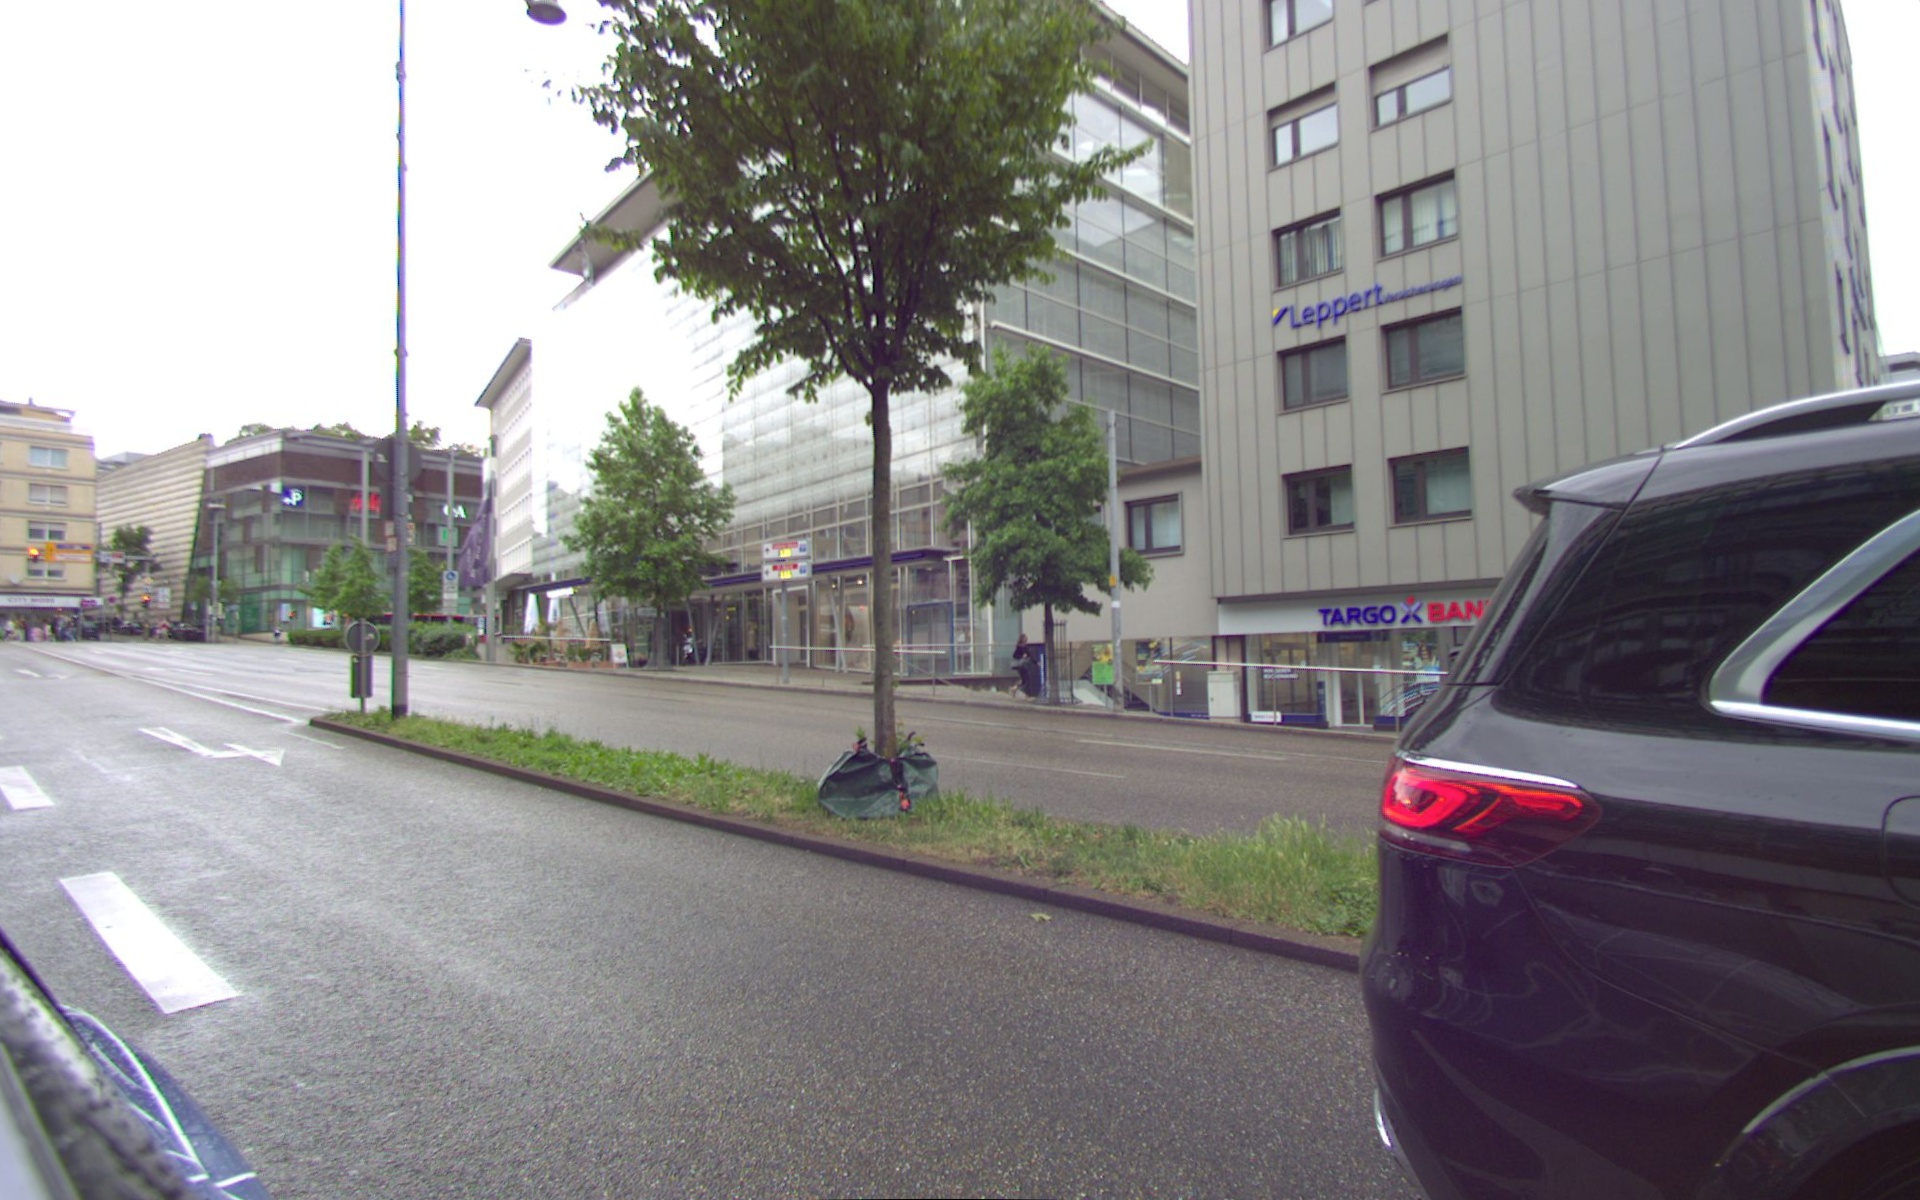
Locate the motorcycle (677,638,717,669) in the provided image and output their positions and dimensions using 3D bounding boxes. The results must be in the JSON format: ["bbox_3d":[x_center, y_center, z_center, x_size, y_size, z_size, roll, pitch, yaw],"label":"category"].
[{"bbox_3d":[-11.963,2.429,46.076,0.620,1.336,1.685,-1,-3,41],"label":"motorcycle"}]

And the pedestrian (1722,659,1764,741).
[{"bbox_3d":[16.632,2.106,21.501,0.634,1.649,0.781,0,0,34],"label":"pedestrian"}]

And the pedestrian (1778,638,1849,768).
[{"bbox_3d":[11.662,1.379,13.842,0.725,1.694,0.584,0,0,41],"label":"pedestrian"}]

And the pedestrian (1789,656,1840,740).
[{"bbox_3d":[18.228,2.072,21.606,0.724,1.710,0.781,0,-3,34],"label":"pedestrian"}]

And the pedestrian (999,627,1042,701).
[{"bbox_3d":[1.400,1.470,23.502,0.626,1.649,0.791,0,0,-41],"label":"pedestrian"}]

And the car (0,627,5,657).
[{"bbox_3d":[-68.127,2.820,68.621,1.993,2.029,4.538,0,-2,32],"label":"car"}]

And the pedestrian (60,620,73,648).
[{"bbox_3d":[-58.909,2.246,66.728,0.618,1.788,0.689,0,0,-45],"label":"pedestrian"}]

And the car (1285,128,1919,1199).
[{"bbox_3d":[3.079,0.380,0.787,5.069,1.884,1.892,0,0,40],"label":"car"}]
